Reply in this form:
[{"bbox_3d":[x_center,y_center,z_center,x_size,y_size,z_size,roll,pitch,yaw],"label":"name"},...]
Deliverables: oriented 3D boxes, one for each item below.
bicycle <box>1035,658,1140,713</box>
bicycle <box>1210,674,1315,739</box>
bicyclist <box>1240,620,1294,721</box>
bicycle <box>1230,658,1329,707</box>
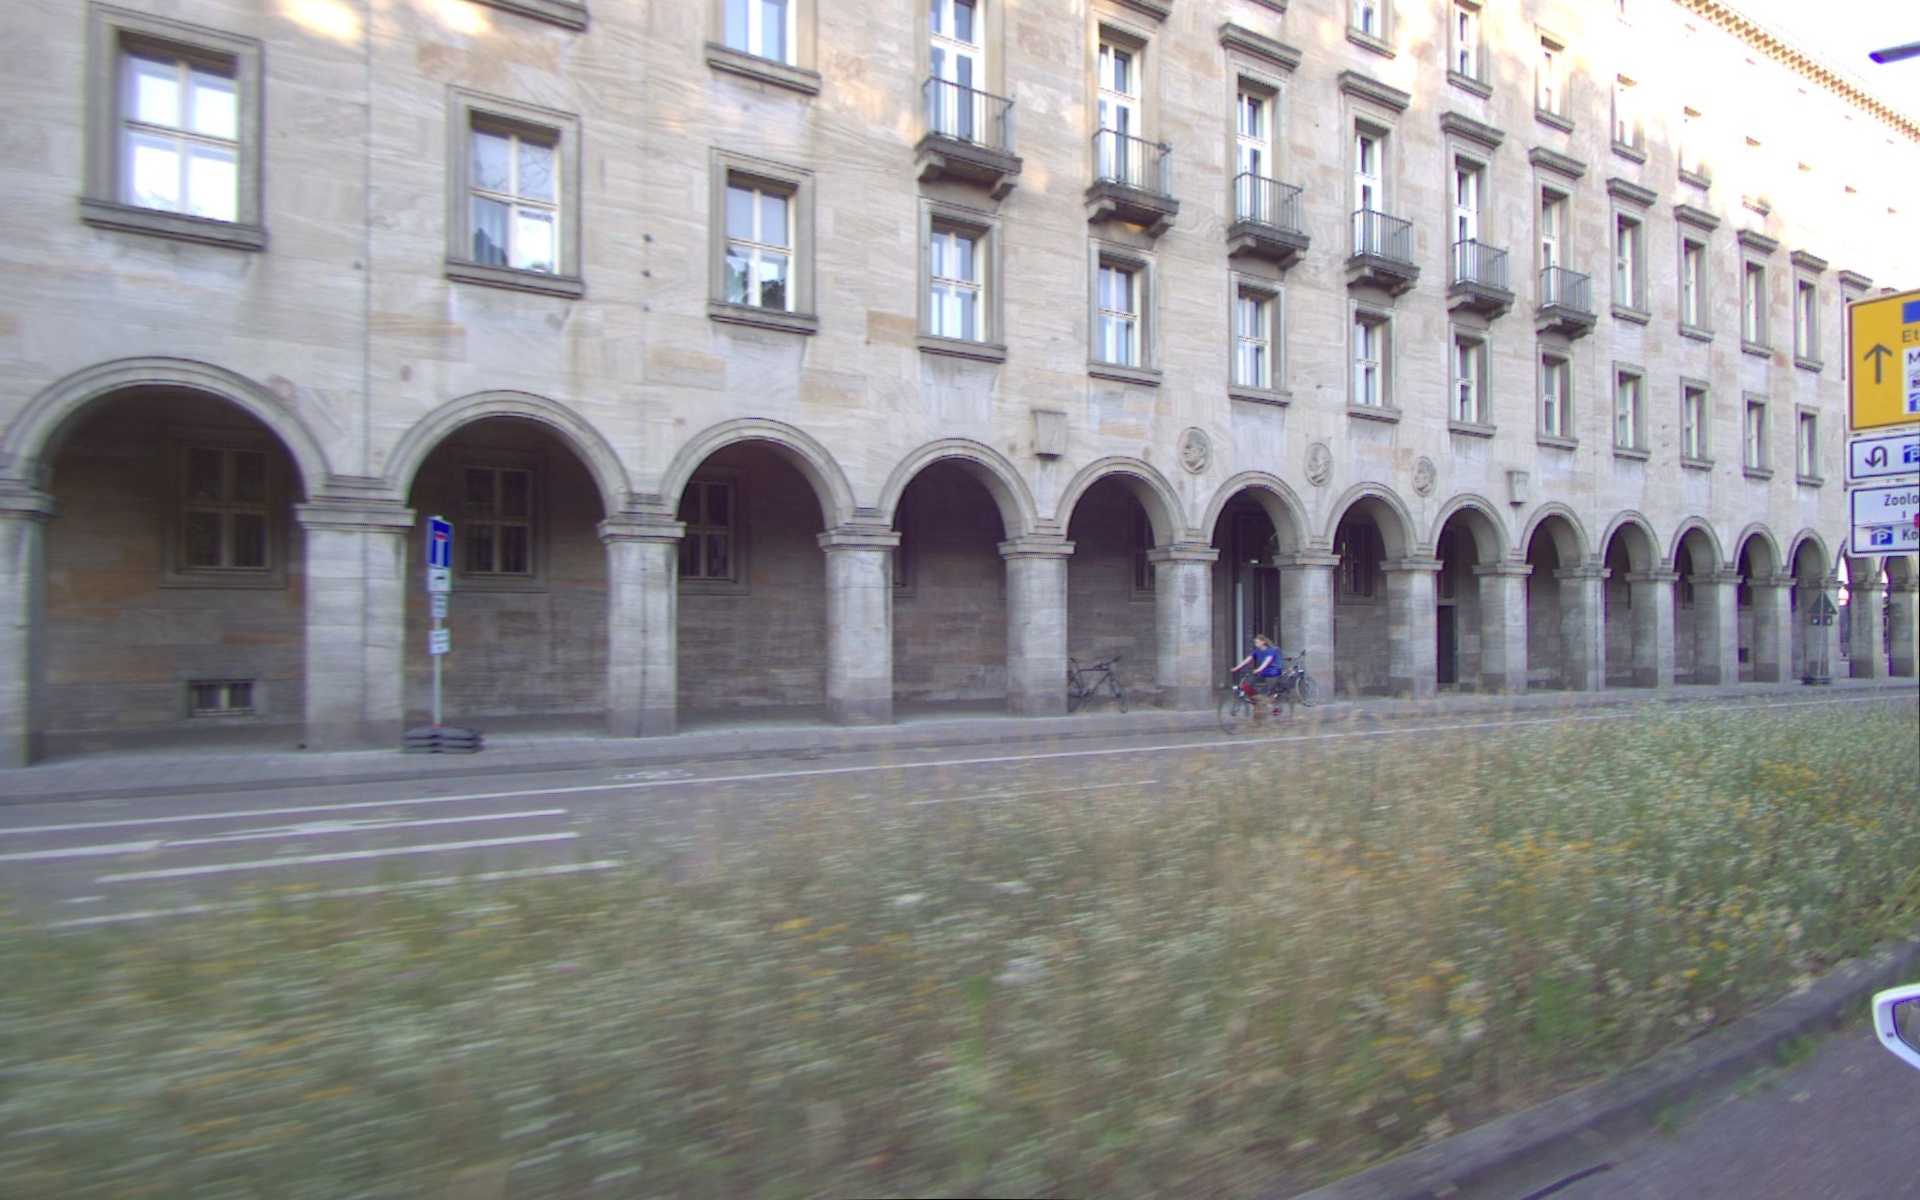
[{"bbox_3d":[2.462,1.631,19.381,1.969,1.019,0.478,0,-2,-11],"label":"bicycle"},{"bbox_3d":[5.277,1.825,17.455,1.981,1.019,0.539,1,-2,-30],"label":"bicycle"},{"bbox_3d":[5.341,1.218,17.502,0.739,1.715,0.534,1,-2,-28],"label":"bicyclist"},{"bbox_3d":[6.879,1.774,21.673,1.964,1.019,0.479,0,-2,7],"label":"bicycle"}]
